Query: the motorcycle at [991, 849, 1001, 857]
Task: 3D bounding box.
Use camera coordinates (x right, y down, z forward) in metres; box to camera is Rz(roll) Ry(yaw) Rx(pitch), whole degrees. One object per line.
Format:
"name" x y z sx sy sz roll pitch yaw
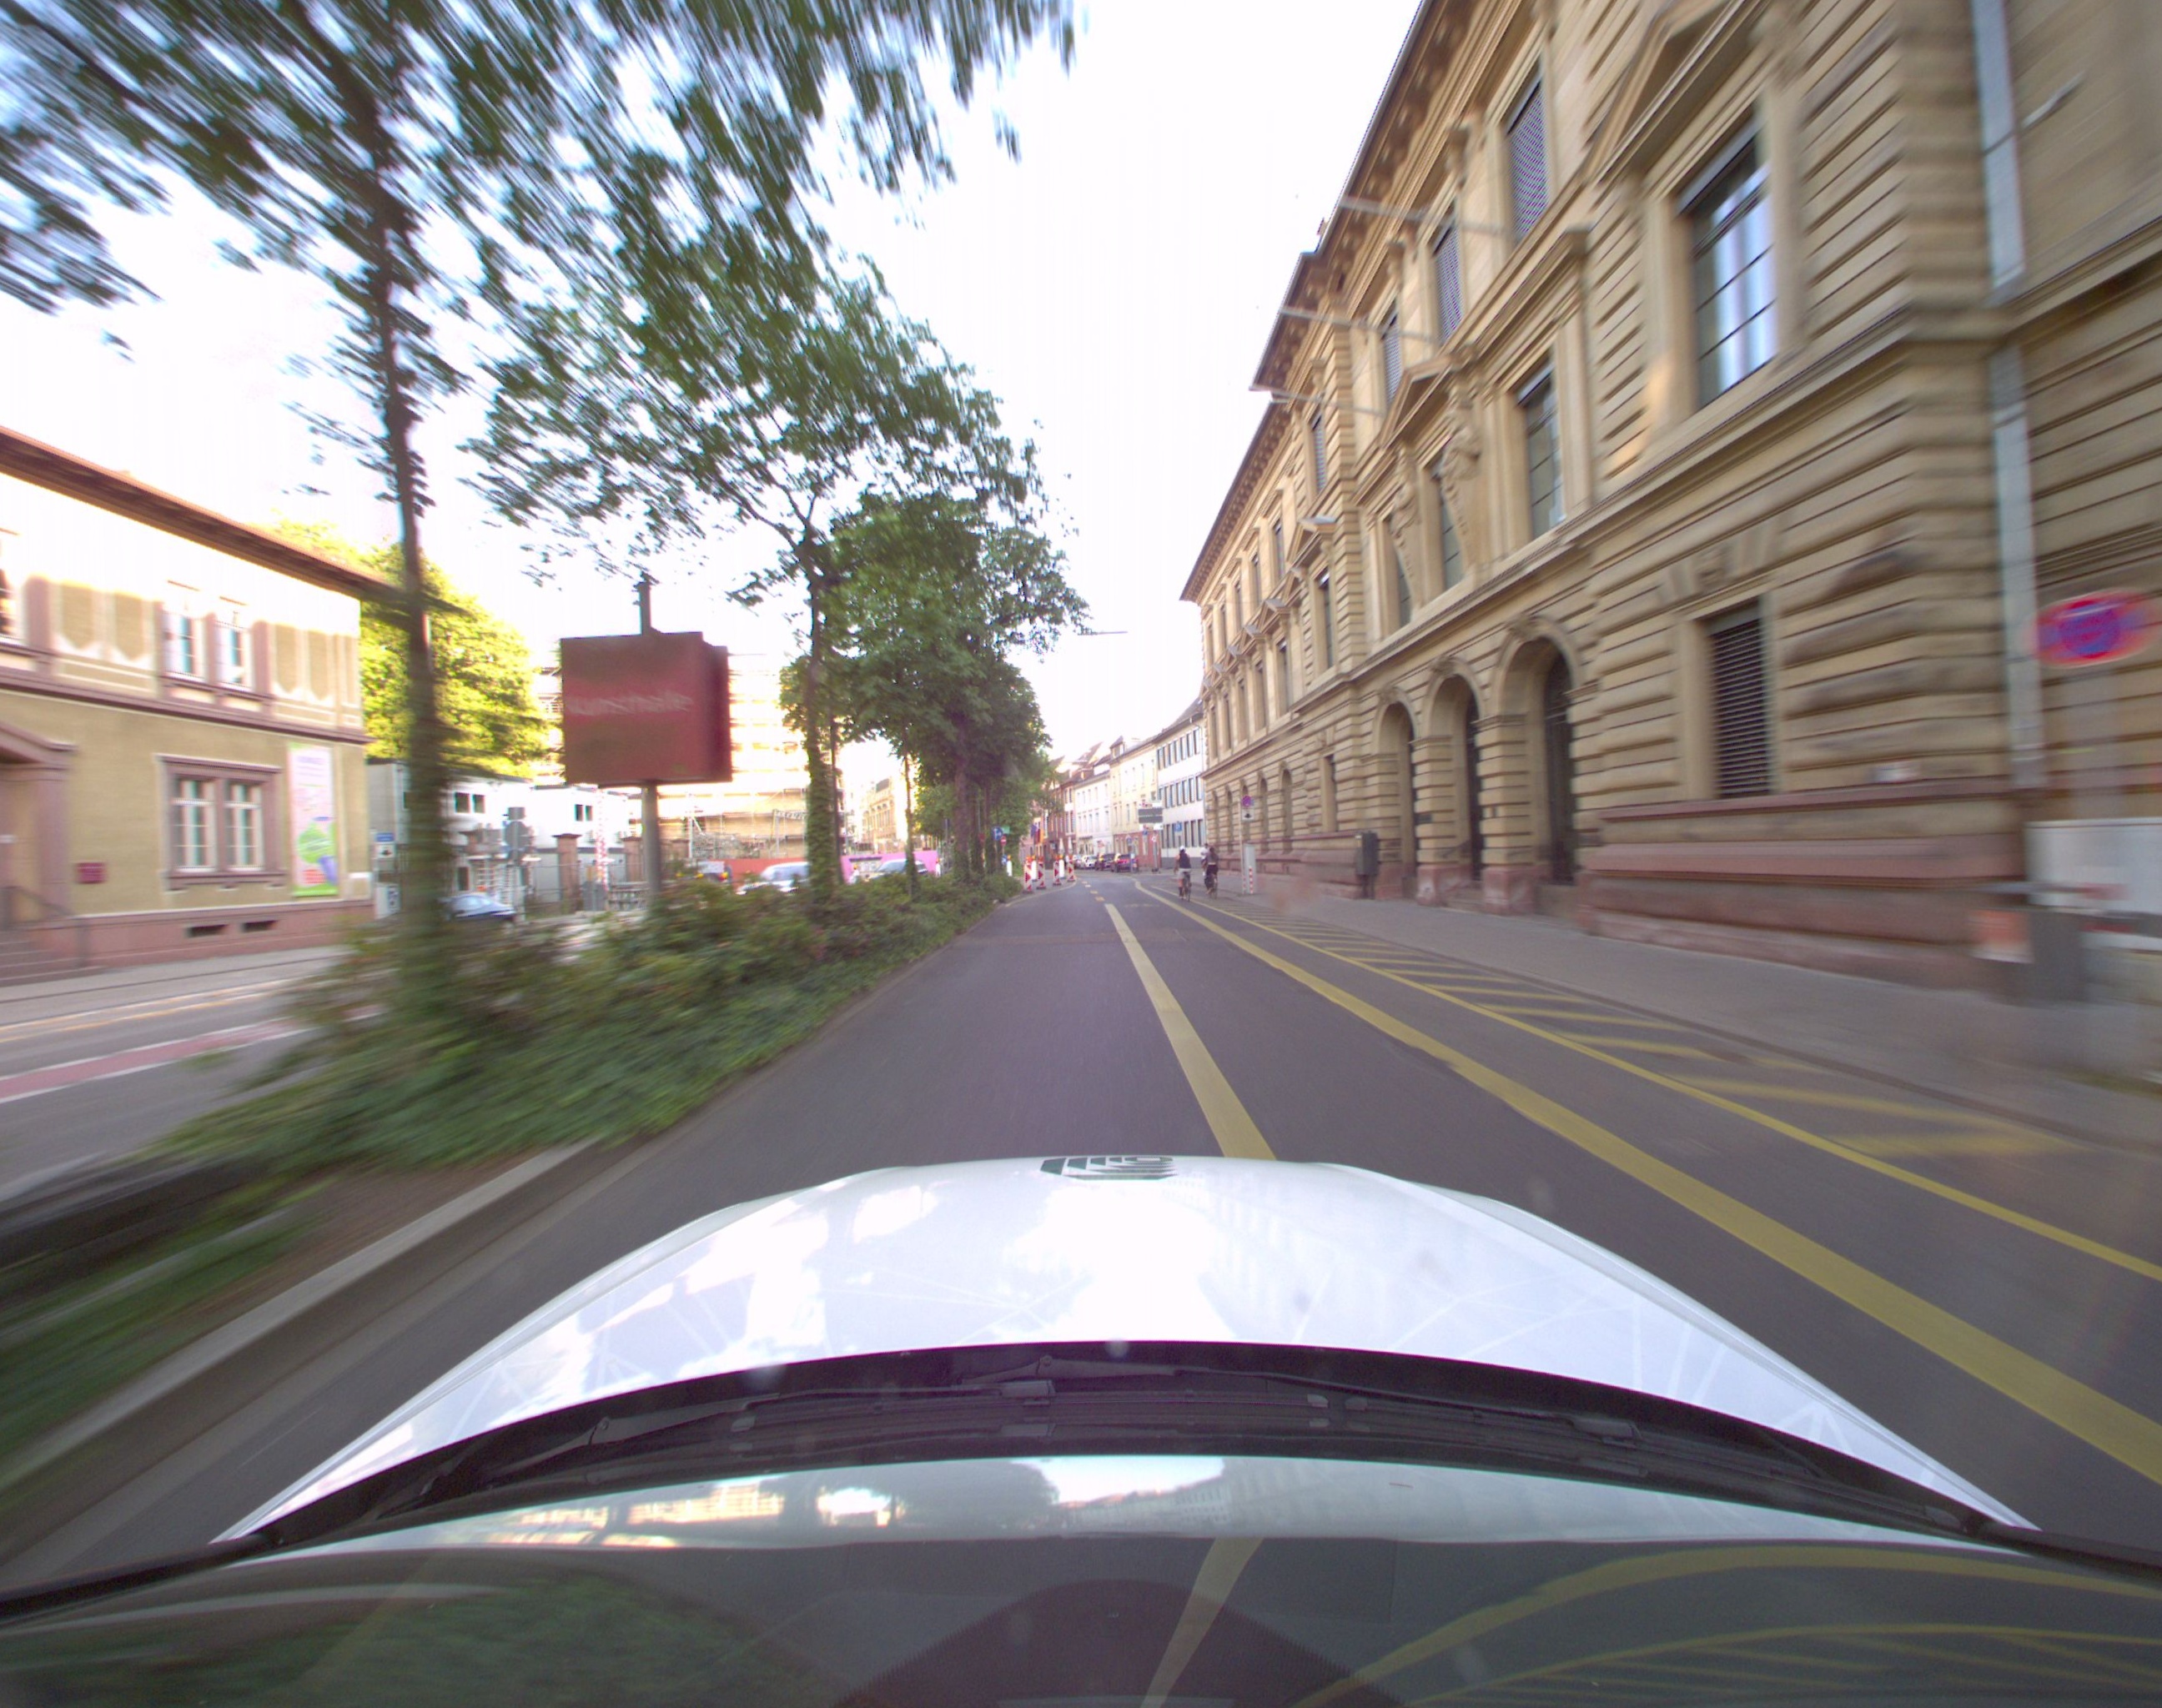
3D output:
"motorcycle" -13.981 -0.128 133.930 1.044 1.248 2.384 -2 0 -17

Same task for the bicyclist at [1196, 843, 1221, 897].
"bicyclist" 4.240 0.509 27.108 0.648 1.760 0.863 0 0 -6

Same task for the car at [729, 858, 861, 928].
"car" -8.162 1.053 23.750 1.834 1.674 4.562 -4 0 4

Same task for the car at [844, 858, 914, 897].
"car" -9.161 1.033 37.327 1.835 1.551 4.178 -4 0 3

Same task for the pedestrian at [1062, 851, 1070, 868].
"pedestrian" -1.646 0.559 89.658 0.827 1.844 0.959 -1 0 3

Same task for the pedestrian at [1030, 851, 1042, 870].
"pedestrian" -4.069 0.608 73.467 0.728 1.674 0.900 -2 0 21

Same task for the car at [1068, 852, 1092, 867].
"car" -0.104 0.630 89.798 1.814 1.560 3.848 -2 0 -13

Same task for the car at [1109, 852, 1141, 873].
"car" 3.700 0.685 69.478 1.813 1.682 3.904 -2 0 -11

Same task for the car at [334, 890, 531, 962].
"car" -16.097 1.729 20.502 1.673 1.351 3.888 -4 0 1

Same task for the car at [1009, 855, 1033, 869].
"car" -7.416 1.020 100.772 1.820 1.560 3.835 -2 0 -23

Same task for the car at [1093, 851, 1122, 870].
"car" 2.464 0.583 77.347 1.813 1.684 3.984 -2 0 -12

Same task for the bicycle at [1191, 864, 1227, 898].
"bicycle" 4.239 0.871 27.187 0.652 1.071 2.254 0 0 -5

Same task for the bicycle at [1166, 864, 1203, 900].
"bicycle" 3.269 0.877 25.830 0.669 1.071 1.896 -1 0 -8

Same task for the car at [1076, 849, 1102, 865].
"car" 0.801 0.352 85.479 1.814 1.560 3.848 -2 0 -13

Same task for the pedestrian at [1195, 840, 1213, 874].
"pedestrian" 6.561 0.171 43.389 0.813 1.765 1.039 -1 0 3

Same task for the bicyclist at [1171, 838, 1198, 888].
"bicyclist" 3.267 0.272 25.733 0.668 1.566 0.696 0 -1 -8
